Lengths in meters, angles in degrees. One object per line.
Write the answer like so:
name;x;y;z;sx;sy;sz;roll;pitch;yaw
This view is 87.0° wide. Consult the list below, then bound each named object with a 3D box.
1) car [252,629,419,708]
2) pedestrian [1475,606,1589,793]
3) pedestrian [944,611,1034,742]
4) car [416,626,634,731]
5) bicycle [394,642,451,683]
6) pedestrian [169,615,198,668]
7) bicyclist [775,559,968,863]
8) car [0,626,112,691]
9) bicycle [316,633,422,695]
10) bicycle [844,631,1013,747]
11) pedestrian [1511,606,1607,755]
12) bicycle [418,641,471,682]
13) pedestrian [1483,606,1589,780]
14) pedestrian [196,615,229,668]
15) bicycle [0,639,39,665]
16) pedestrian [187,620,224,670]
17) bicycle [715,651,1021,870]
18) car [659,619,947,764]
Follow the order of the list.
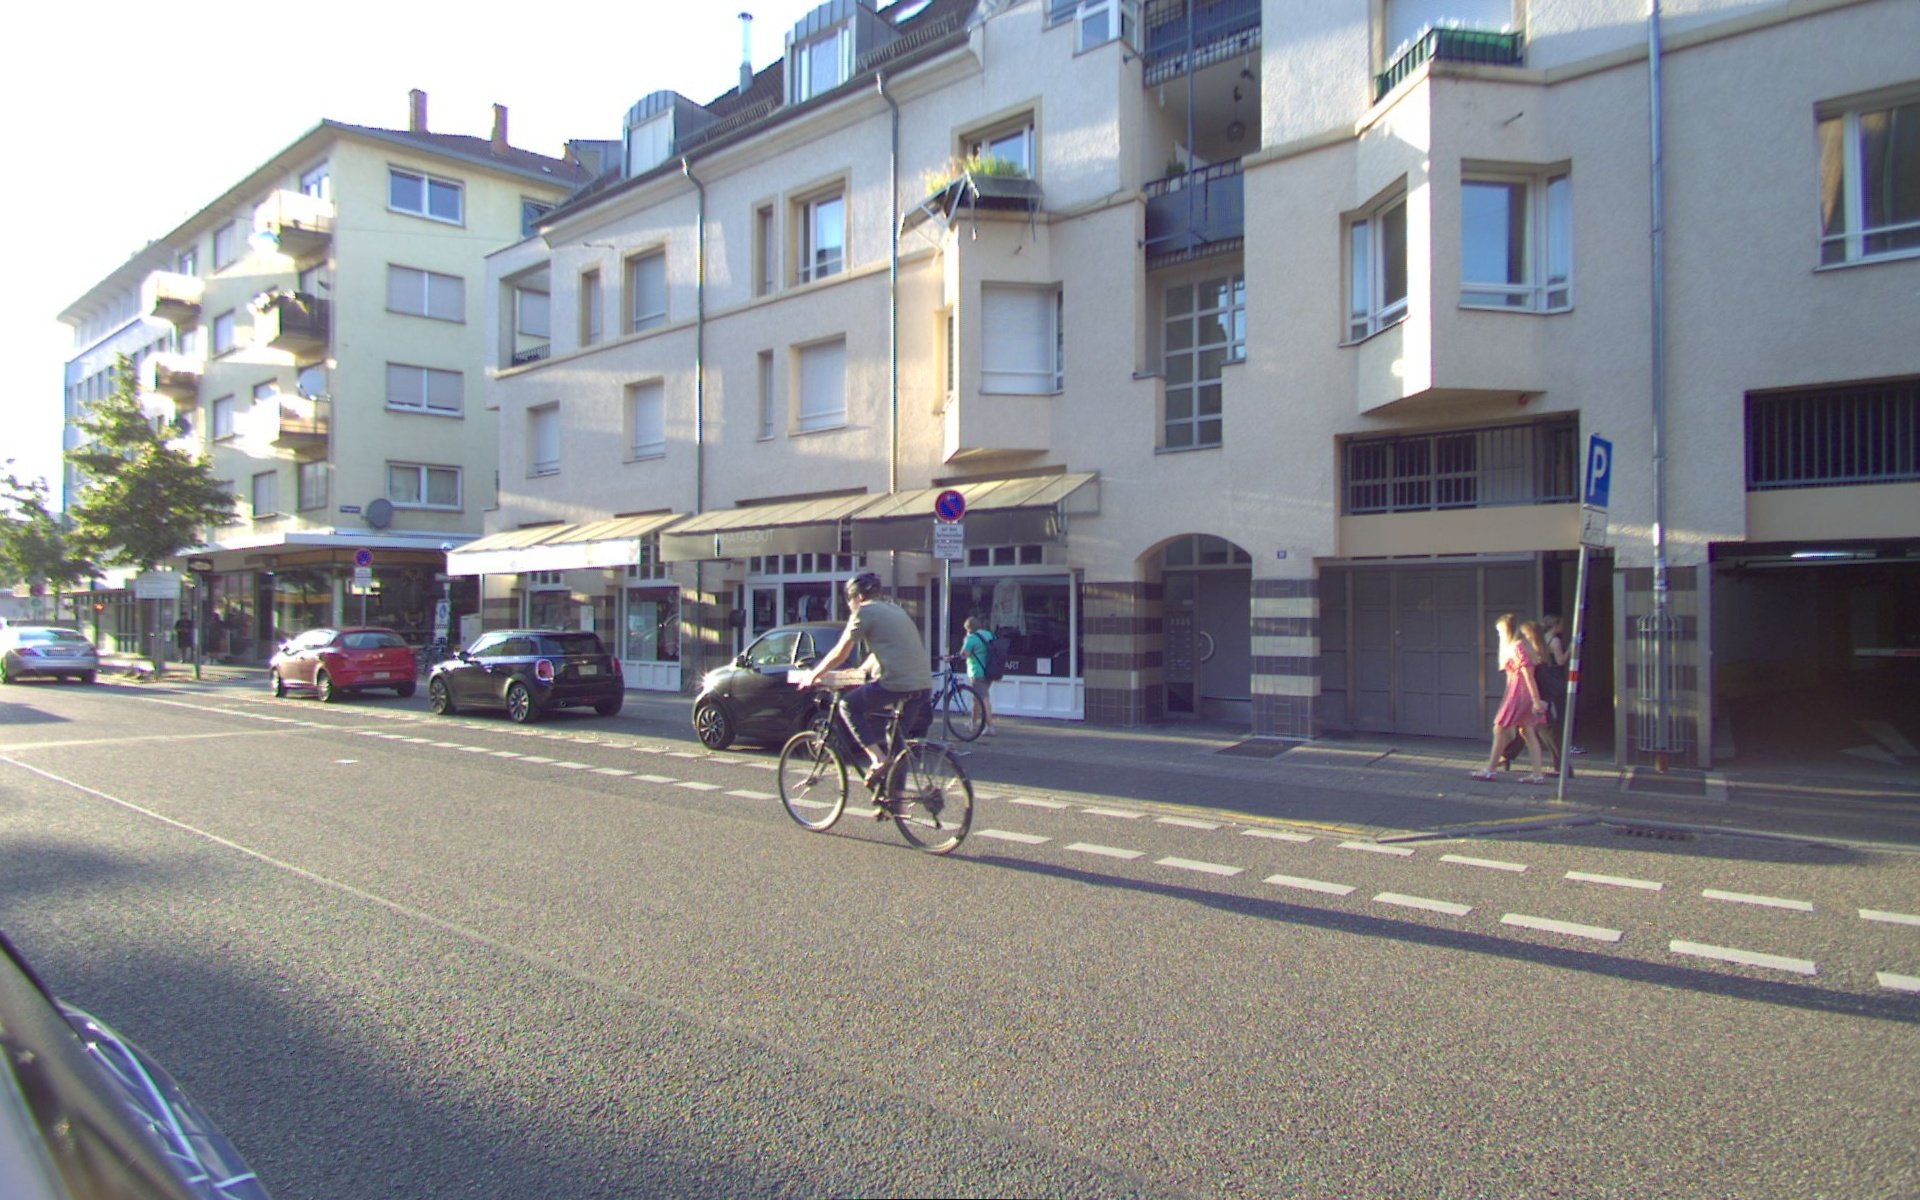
car;-12.890;1.335;20.821;3.877;1.413;1.645;-1;0;37
pedestrian;5.385;0.885;9.528;0.853;1.654;0.710;-1;0;36
pedestrian;0.389;0.981;13.450;0.949;1.654;0.710;-1;0;35
car;-7.197;1.190;16.622;3.719;1.464;1.695;-1;0;38
bicycle;-14.074;1.625;26.481;2.011;0.999;0.485;-1;0;36
pedestrian;-27.941;1.490;36.428;0.758;1.862;0.744;1;-3;-43
bicyclist;-0.584;0.685;6.751;1.005;1.843;0.774;-1;-2;35
car;-23.679;1.456;25.955;4.502;1.523;1.975;-1;-4;37
bicycle;-13.860;1.453;23.695;3.120;1.310;0.950;-1;0;36
bicycle;-0.456;1.116;13.352;2.354;1.385;0.605;-1;0;37
pedestrian;6.921;0.889;11.692;0.854;1.628;0.709;-1;0;40
bicycle;-13.701;1.618;26.882;2.013;0.999;0.485;-1;0;39
pedestrian;5.784;0.889;10.160;0.853;1.654;0.710;-1;0;36
pedestrian;-26.422;1.470;35.763;0.812;1.833;0.733;-3;-3;39
bicycle;-38.204;2.089;40.449;0.490;0.999;1.993;-1;0;33
pedestrian;-26.002;1.539;34.884;0.757;1.689;0.744;0;-1;-10
bicycle;-0.654;0.978;6.780;2.016;1.213;0.774;-1;-2;35
car;-1.961;1.016;12.468;3.181;1.547;1.777;-1;-2;35
